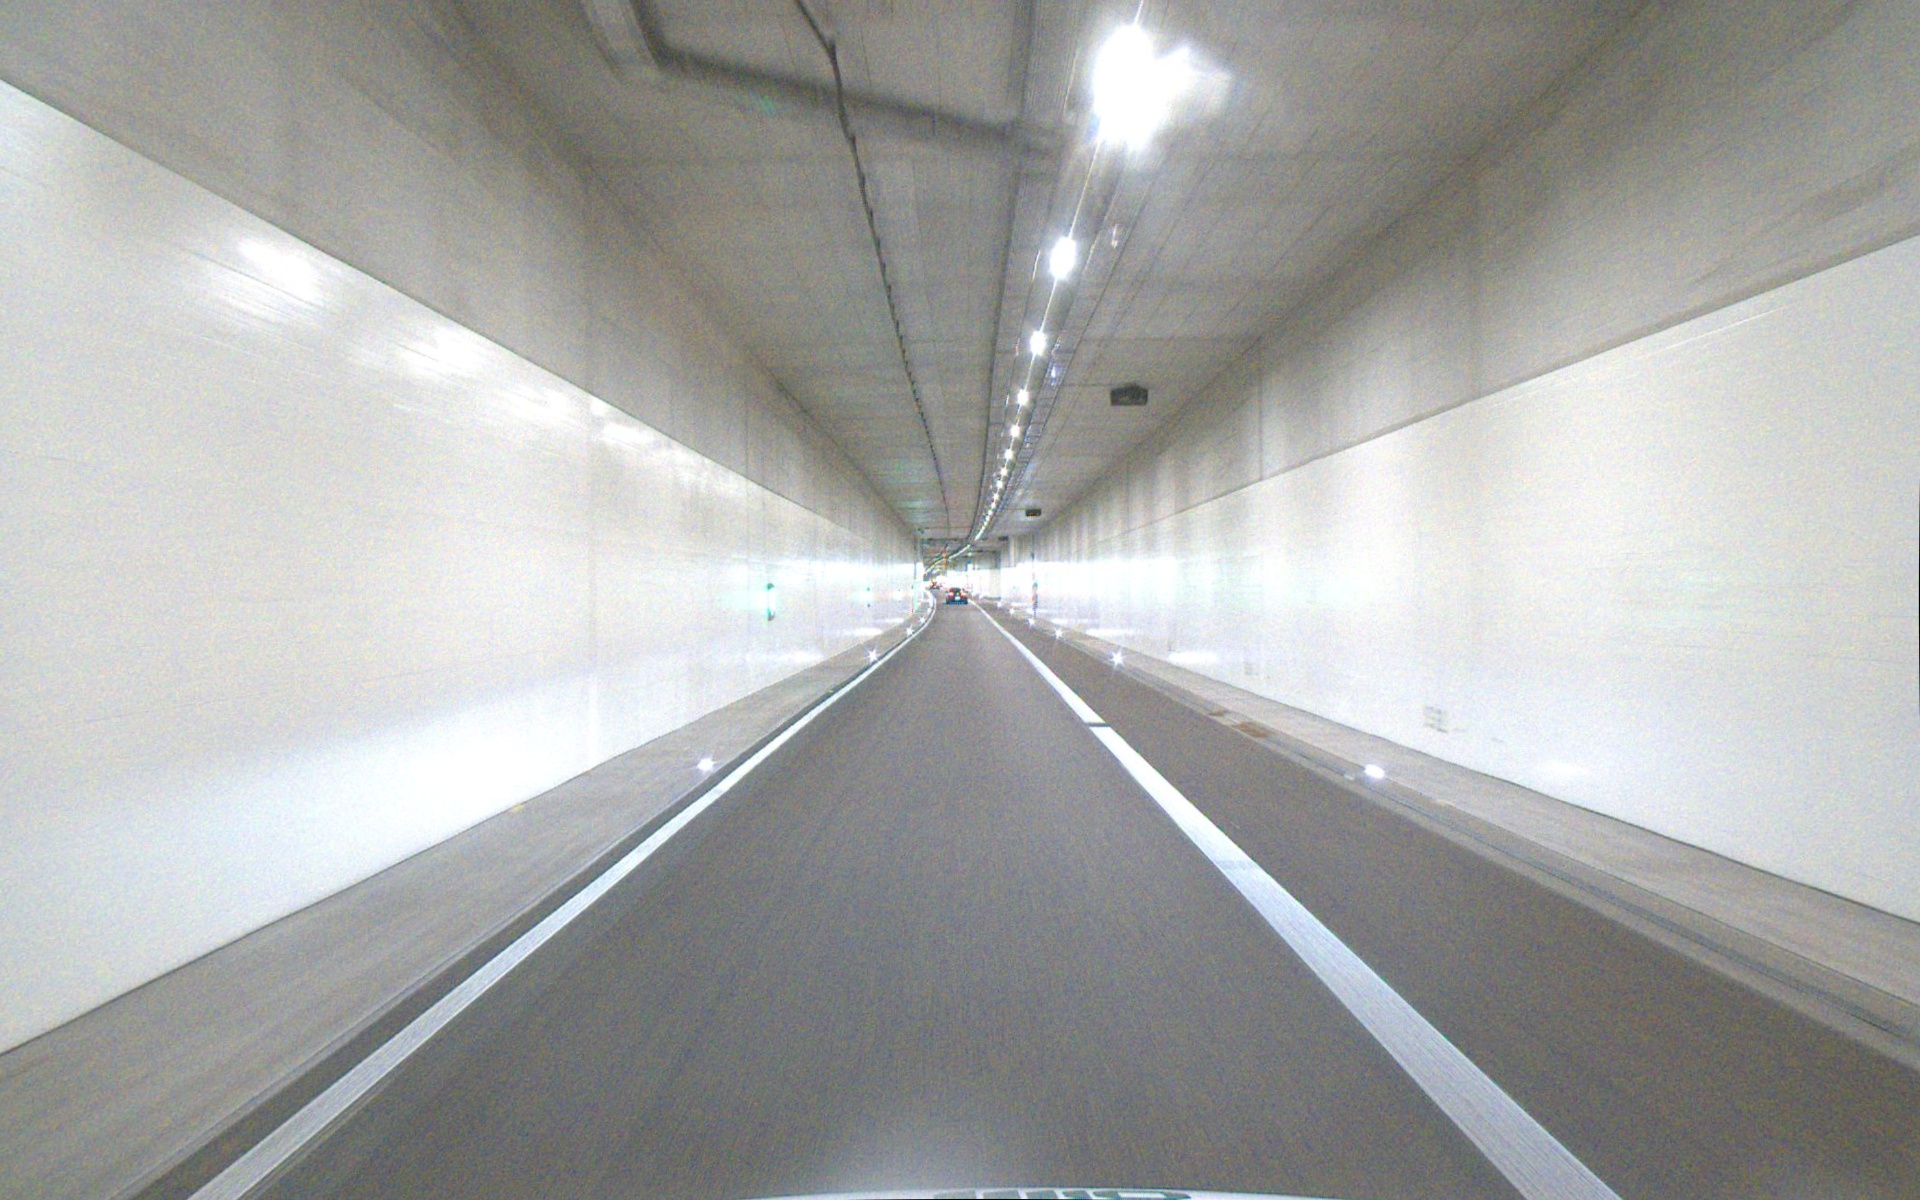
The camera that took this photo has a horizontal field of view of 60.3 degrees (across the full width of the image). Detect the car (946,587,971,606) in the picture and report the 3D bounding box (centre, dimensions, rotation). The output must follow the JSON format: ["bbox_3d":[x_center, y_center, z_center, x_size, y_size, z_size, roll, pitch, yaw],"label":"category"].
[{"bbox_3d":[-0.129,-0.318,142.855,1.954,1.444,3.998,4,0,-2],"label":"car"}]
